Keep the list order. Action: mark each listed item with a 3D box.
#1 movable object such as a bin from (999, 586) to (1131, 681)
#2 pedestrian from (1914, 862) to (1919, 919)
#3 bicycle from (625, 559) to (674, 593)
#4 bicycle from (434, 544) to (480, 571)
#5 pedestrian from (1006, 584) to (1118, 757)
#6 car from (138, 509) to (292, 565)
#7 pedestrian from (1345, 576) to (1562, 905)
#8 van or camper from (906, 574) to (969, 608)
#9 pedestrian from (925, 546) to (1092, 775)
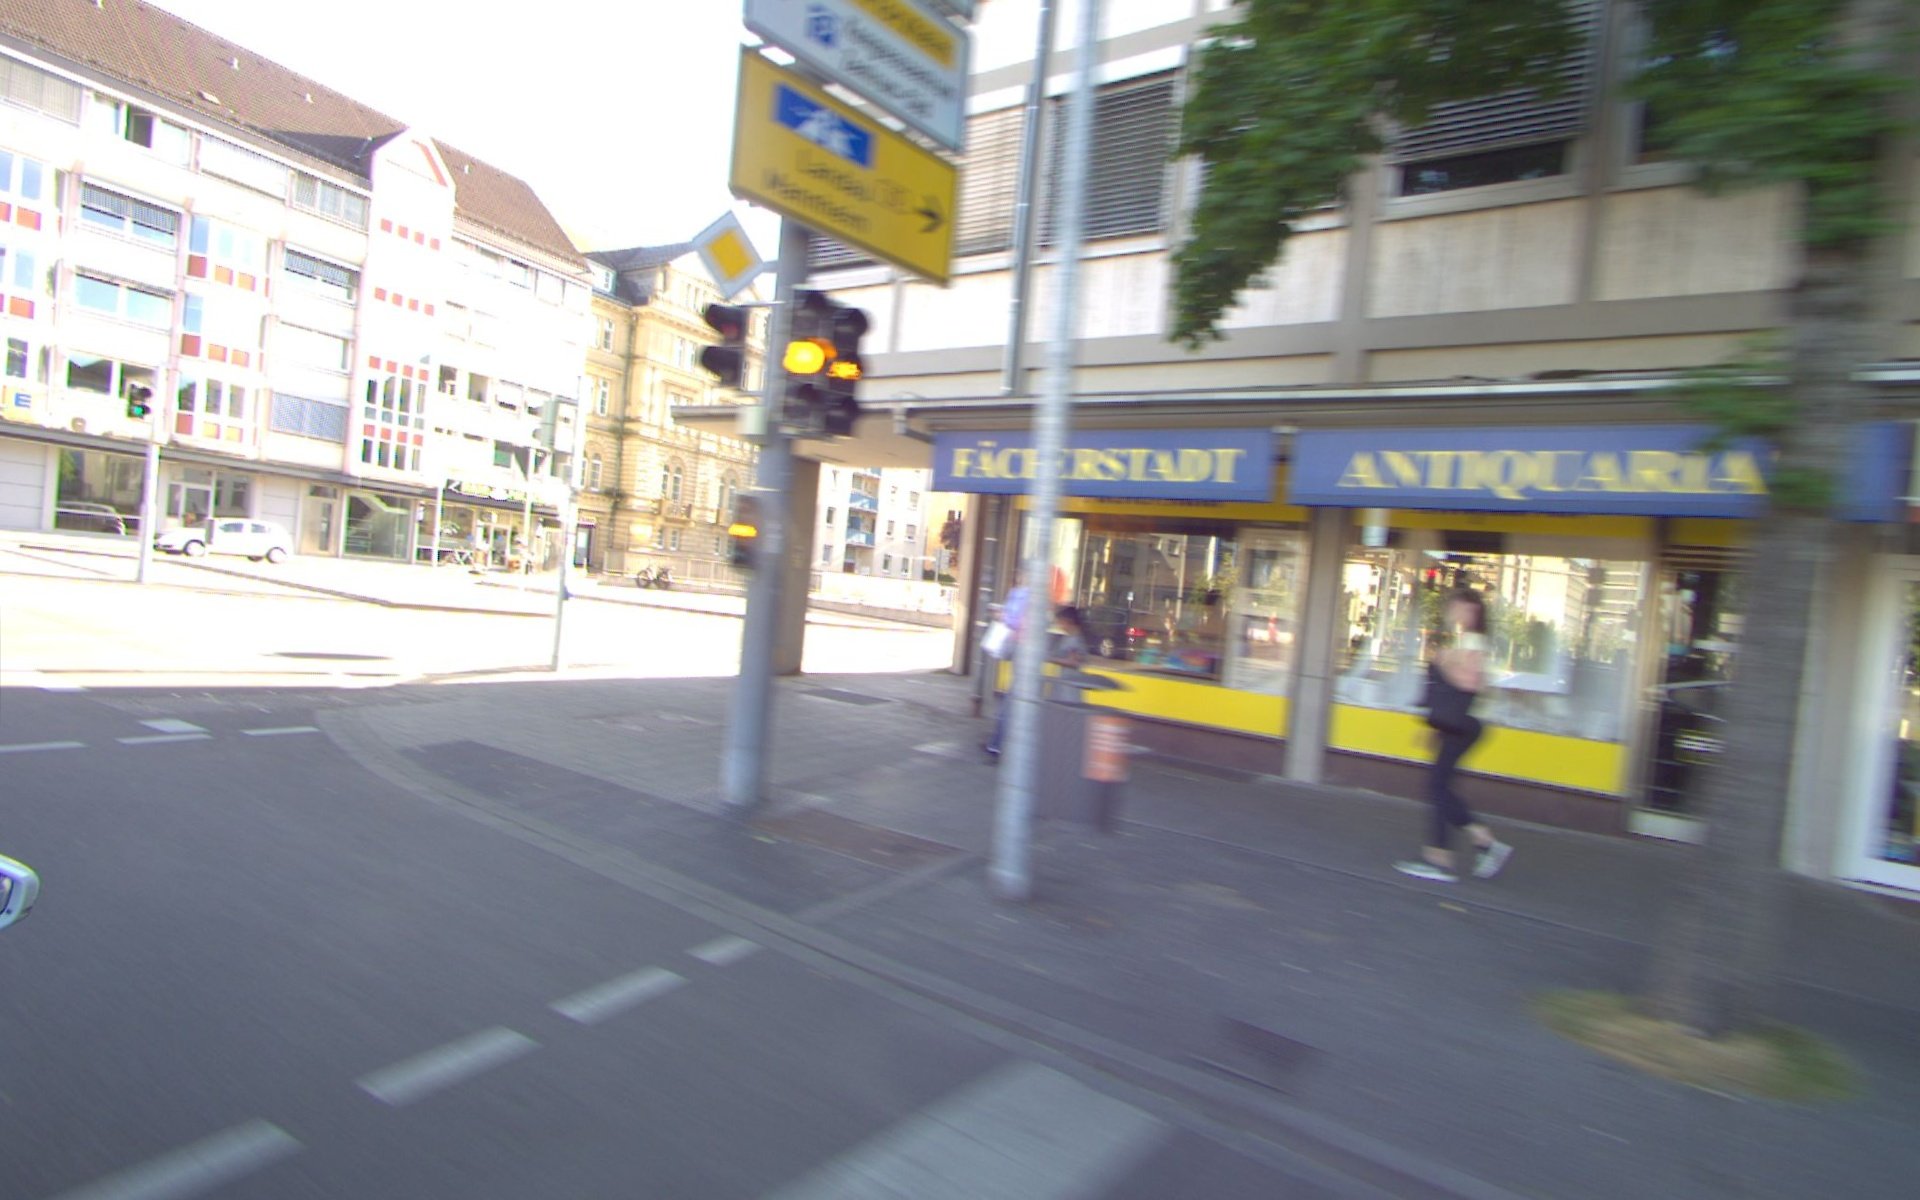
[{"bbox_3d":[1.871,0.607,17.736,1.430,1.488,1.908,5,0,38],"label":"movable object such as a bin"},{"bbox_3d":[6.198,1.173,5.732,0.866,1.622,0.842,7,1,37],"label":"pedestrian"},{"bbox_3d":[-12.322,-0.953,39.865,1.962,1.093,0.596,7,0,31],"label":"bicycle"},{"bbox_3d":[-24.343,-2.037,48.701,0.527,1.062,1.970,6,0,29],"label":"bicycle"},{"bbox_3d":[0.915,0.621,8.993,0.612,1.440,0.644,7,1,38],"label":"pedestrian"},{"bbox_3d":[-25.691,-2.148,34.817,1.774,1.449,3.844,4,-1,32],"label":"car"},{"bbox_3d":[2.969,0.784,6.035,0.866,1.728,0.842,7,1,37],"label":"pedestrian"},{"bbox_3d":[-1.590,-0.639,73.837,2.007,1.977,5.250,7,1,30],"label":"van or camper"},{"bbox_3d":[0.391,0.483,8.275,0.838,1.743,0.871,6,1,-38],"label":"pedestrian"}]
